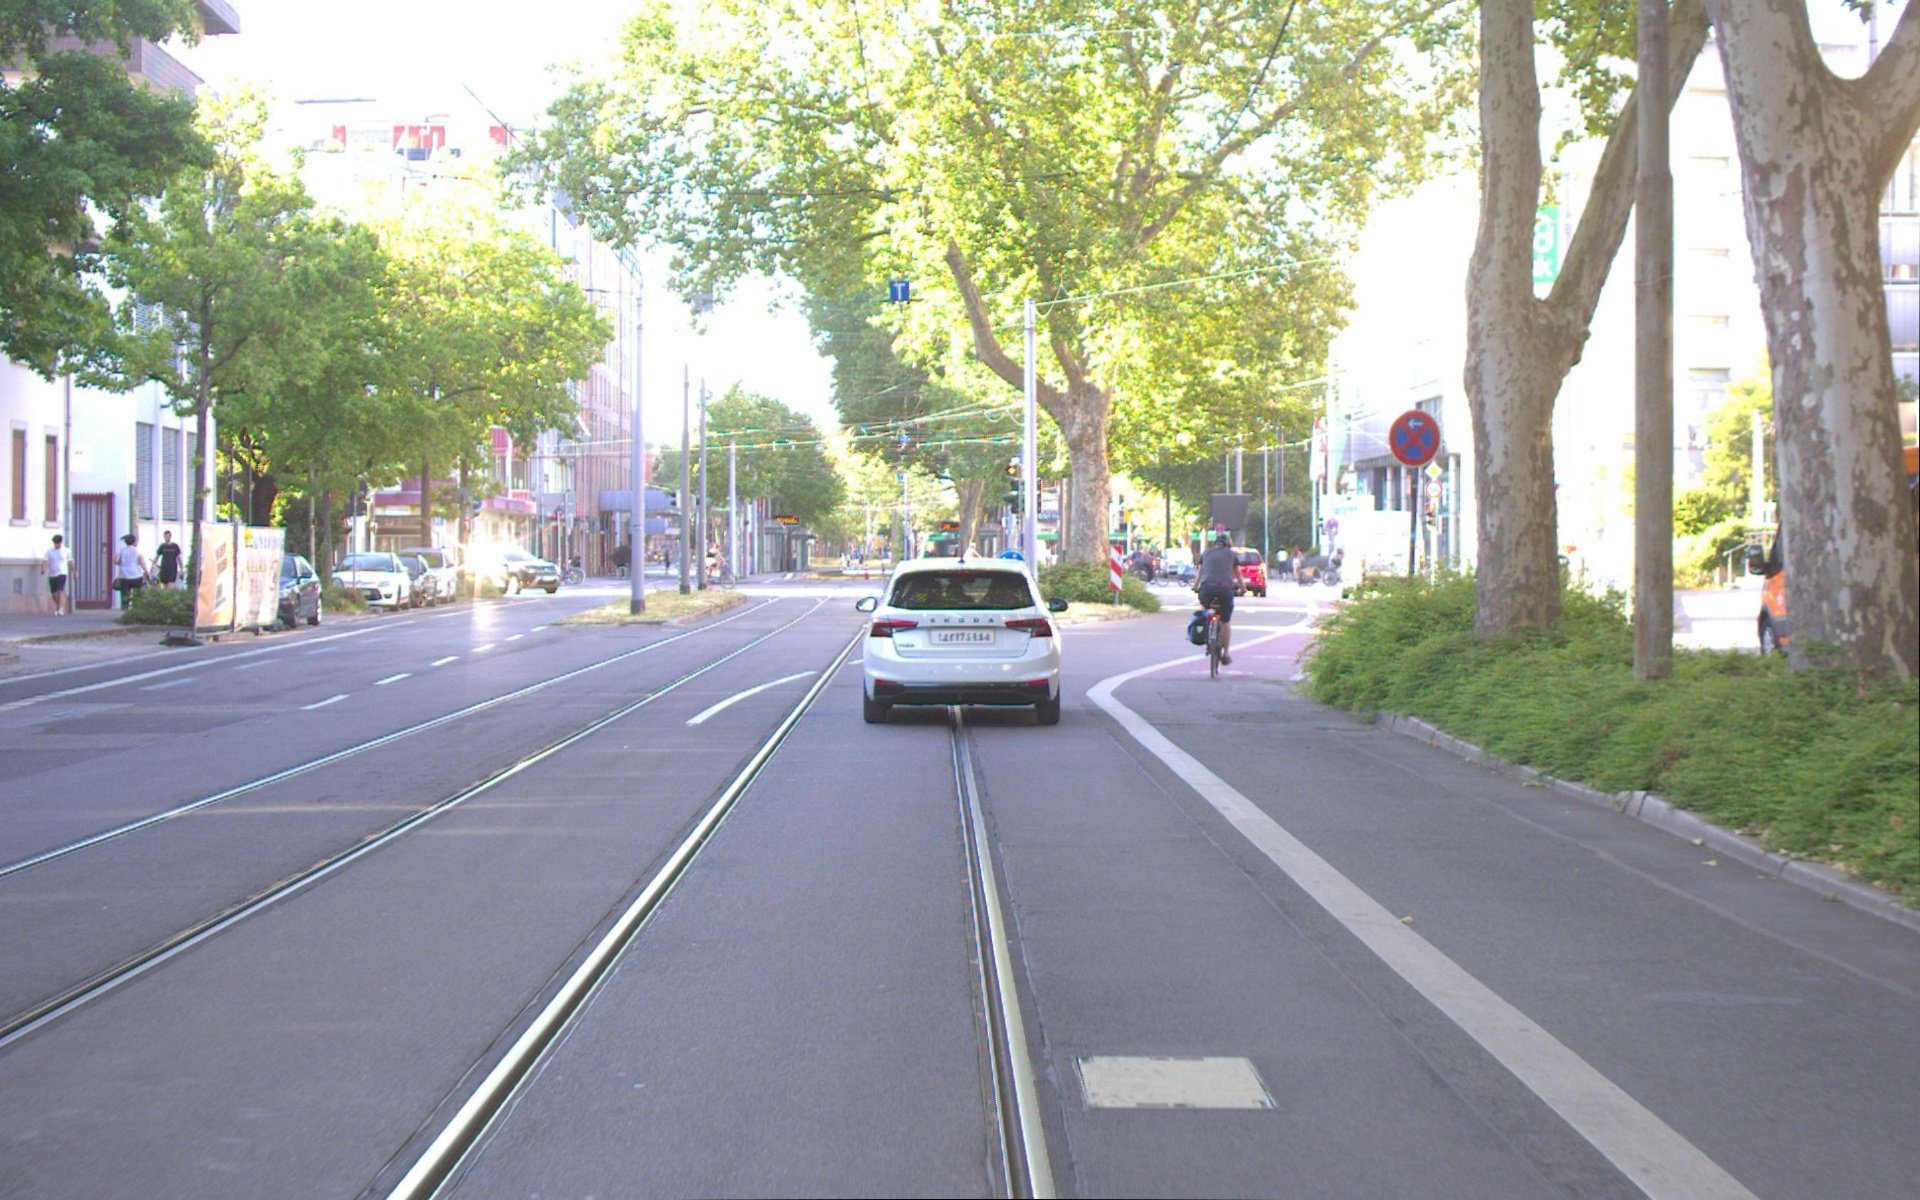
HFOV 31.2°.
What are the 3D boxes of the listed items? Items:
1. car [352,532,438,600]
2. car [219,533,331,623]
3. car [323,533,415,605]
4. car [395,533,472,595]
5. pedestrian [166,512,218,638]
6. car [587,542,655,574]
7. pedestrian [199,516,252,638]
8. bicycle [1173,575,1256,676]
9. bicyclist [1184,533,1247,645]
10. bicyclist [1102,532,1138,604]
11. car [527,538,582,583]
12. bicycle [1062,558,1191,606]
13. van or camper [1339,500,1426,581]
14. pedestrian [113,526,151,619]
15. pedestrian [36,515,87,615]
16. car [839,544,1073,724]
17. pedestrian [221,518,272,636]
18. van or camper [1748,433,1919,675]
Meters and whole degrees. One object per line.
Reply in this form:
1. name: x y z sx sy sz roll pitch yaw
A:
1. car: -15.018 -0.921 91.527 1.793 1.720 3.785 1 1 -3
2. car: -13.713 -0.457 68.951 1.641 1.720 3.785 1 1 -3
3. car: -14.692 -0.790 85.642 1.793 1.720 3.785 1 1 -3
4. car: -15.069 -1.052 98.517 1.793 1.720 3.785 1 1 -3
5. pedestrian: -12.278 -0.400 54.990 0.601 1.996 0.749 1 1 3
6. car: -20.384 -2.546 206.684 3.794 1.812 1.803 2 1 5
7. pedestrian: -12.182 -0.380 57.023 0.646 1.996 0.749 1 1 3
8. bicycle: 3.066 0.288 41.684 0.680 1.151 2.964 1 1 -1
9. bicyclist: 3.109 -0.134 41.808 0.679 1.334 0.525 1 1 -1
10. bicyclist: 3.538 -0.717 75.984 0.737 1.583 0.586 0 1 11
11. car: -13.885 -1.373 117.771 1.634 1.472 3.785 1 1 -3
12. bicycle: 3.681 -0.401 75.947 2.771 0.996 0.592 2 1 13
13. van or camper: 12.629 -1.777 102.993 1.993 2.335 4.000 1 1 -1
14. pedestrian: -16.040 -0.532 66.596 0.600 1.766 0.701 1 1 -8
15. pedestrian: -18.181 -0.707 69.562 0.748 1.996 0.647 2 1 37
16. car: -0.100 0.258 30.809 1.842 1.475 3.839 1 1 -4
17. pedestrian: -12.252 -0.398 59.027 0.646 1.996 0.749 1 1 3
18. van or camper: 10.253 -0.486 37.712 2.027 2.455 5.108 1 1 1
